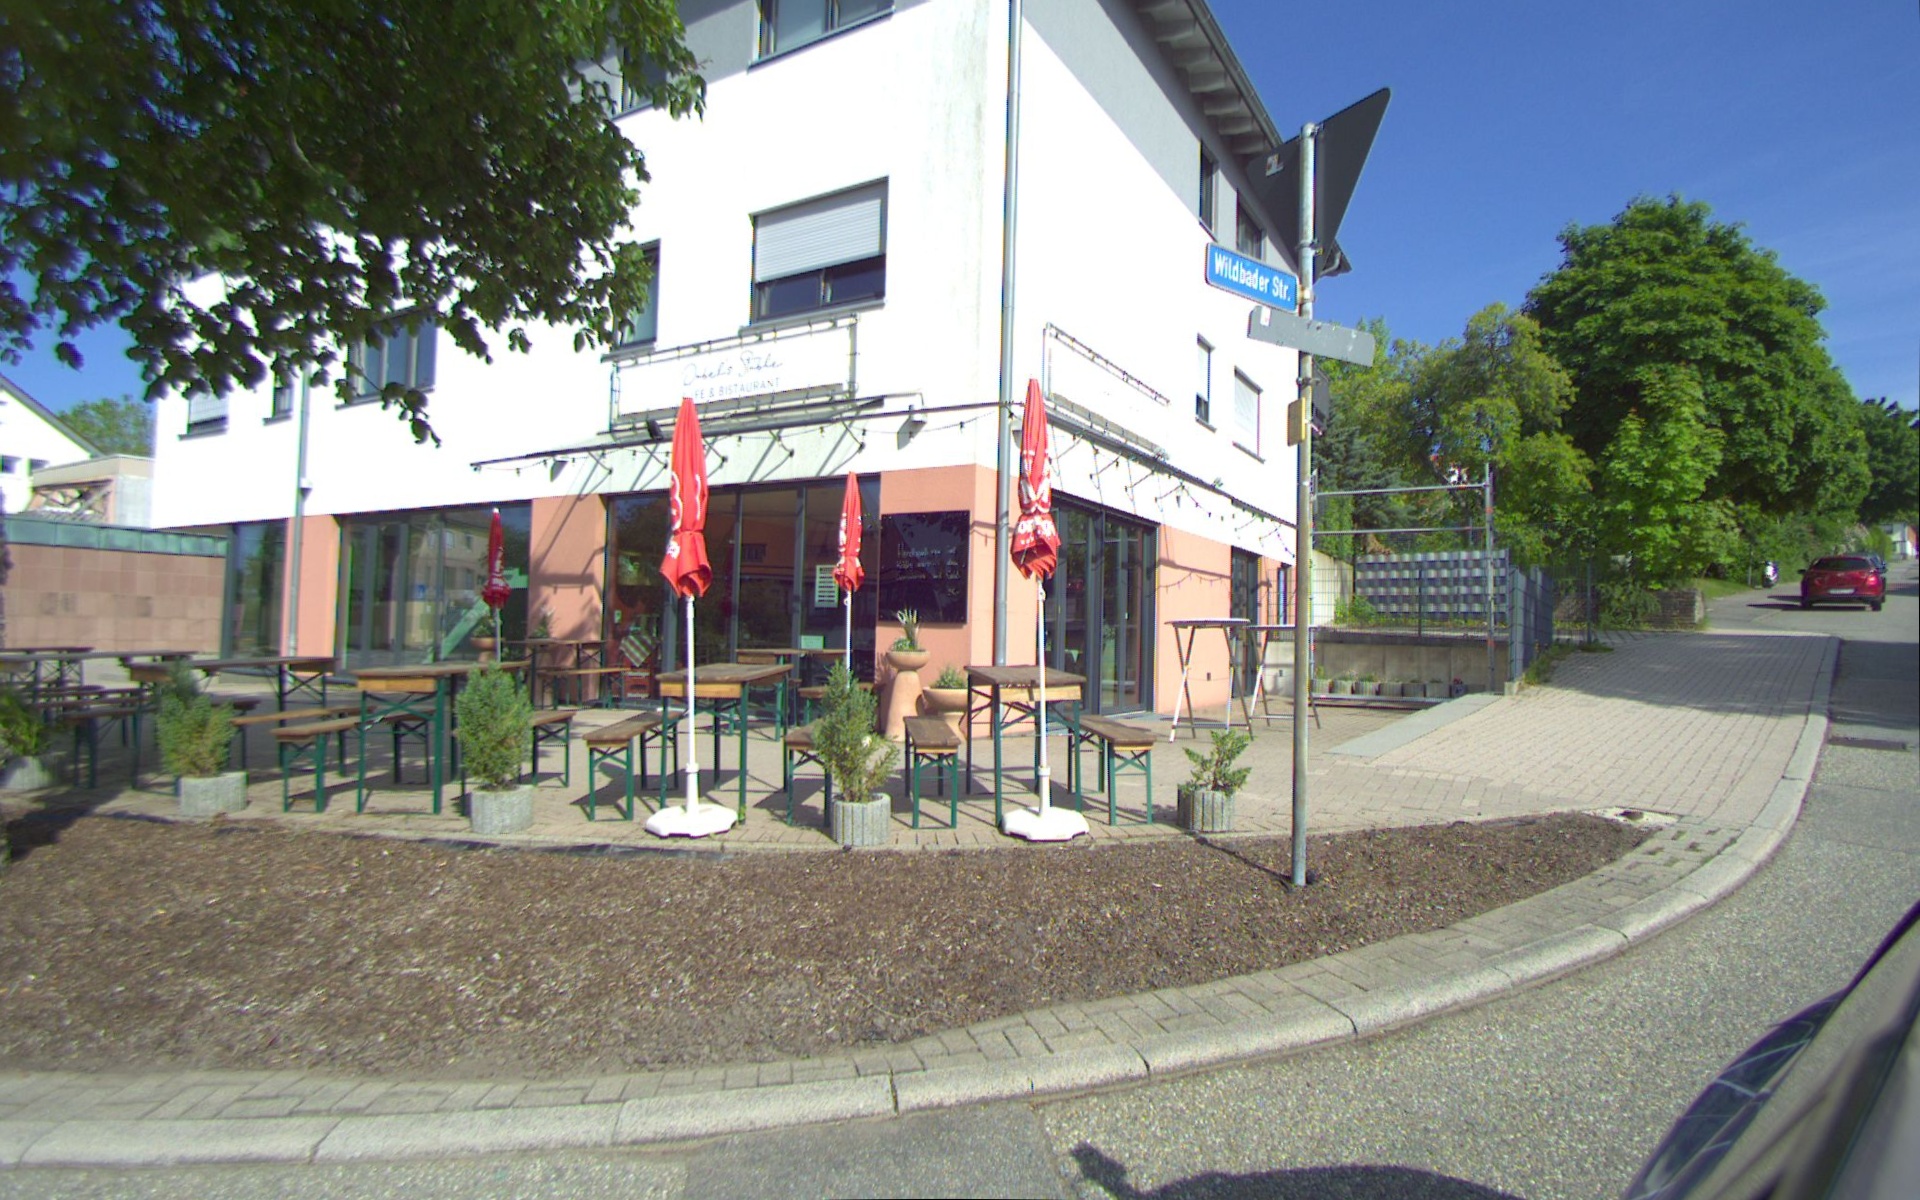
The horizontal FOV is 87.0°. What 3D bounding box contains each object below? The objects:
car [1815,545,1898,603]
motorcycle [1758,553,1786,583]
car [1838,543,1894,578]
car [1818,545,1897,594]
[{"bbox_3d":[24.939,-0.742,28.117,1.619,1.516,3.752,0,2,43],"label":"car"},{"bbox_3d":[32.814,-1.310,40.884,0.782,1.196,2.156,1,3,41],"label":"motorcycle"},{"bbox_3d":[40.932,-1.774,45.695,1.770,1.488,3.752,0,2,44],"label":"car"},{"bbox_3d":[28.627,-0.987,32.235,1.770,1.488,3.752,0,2,44],"label":"car"}]
